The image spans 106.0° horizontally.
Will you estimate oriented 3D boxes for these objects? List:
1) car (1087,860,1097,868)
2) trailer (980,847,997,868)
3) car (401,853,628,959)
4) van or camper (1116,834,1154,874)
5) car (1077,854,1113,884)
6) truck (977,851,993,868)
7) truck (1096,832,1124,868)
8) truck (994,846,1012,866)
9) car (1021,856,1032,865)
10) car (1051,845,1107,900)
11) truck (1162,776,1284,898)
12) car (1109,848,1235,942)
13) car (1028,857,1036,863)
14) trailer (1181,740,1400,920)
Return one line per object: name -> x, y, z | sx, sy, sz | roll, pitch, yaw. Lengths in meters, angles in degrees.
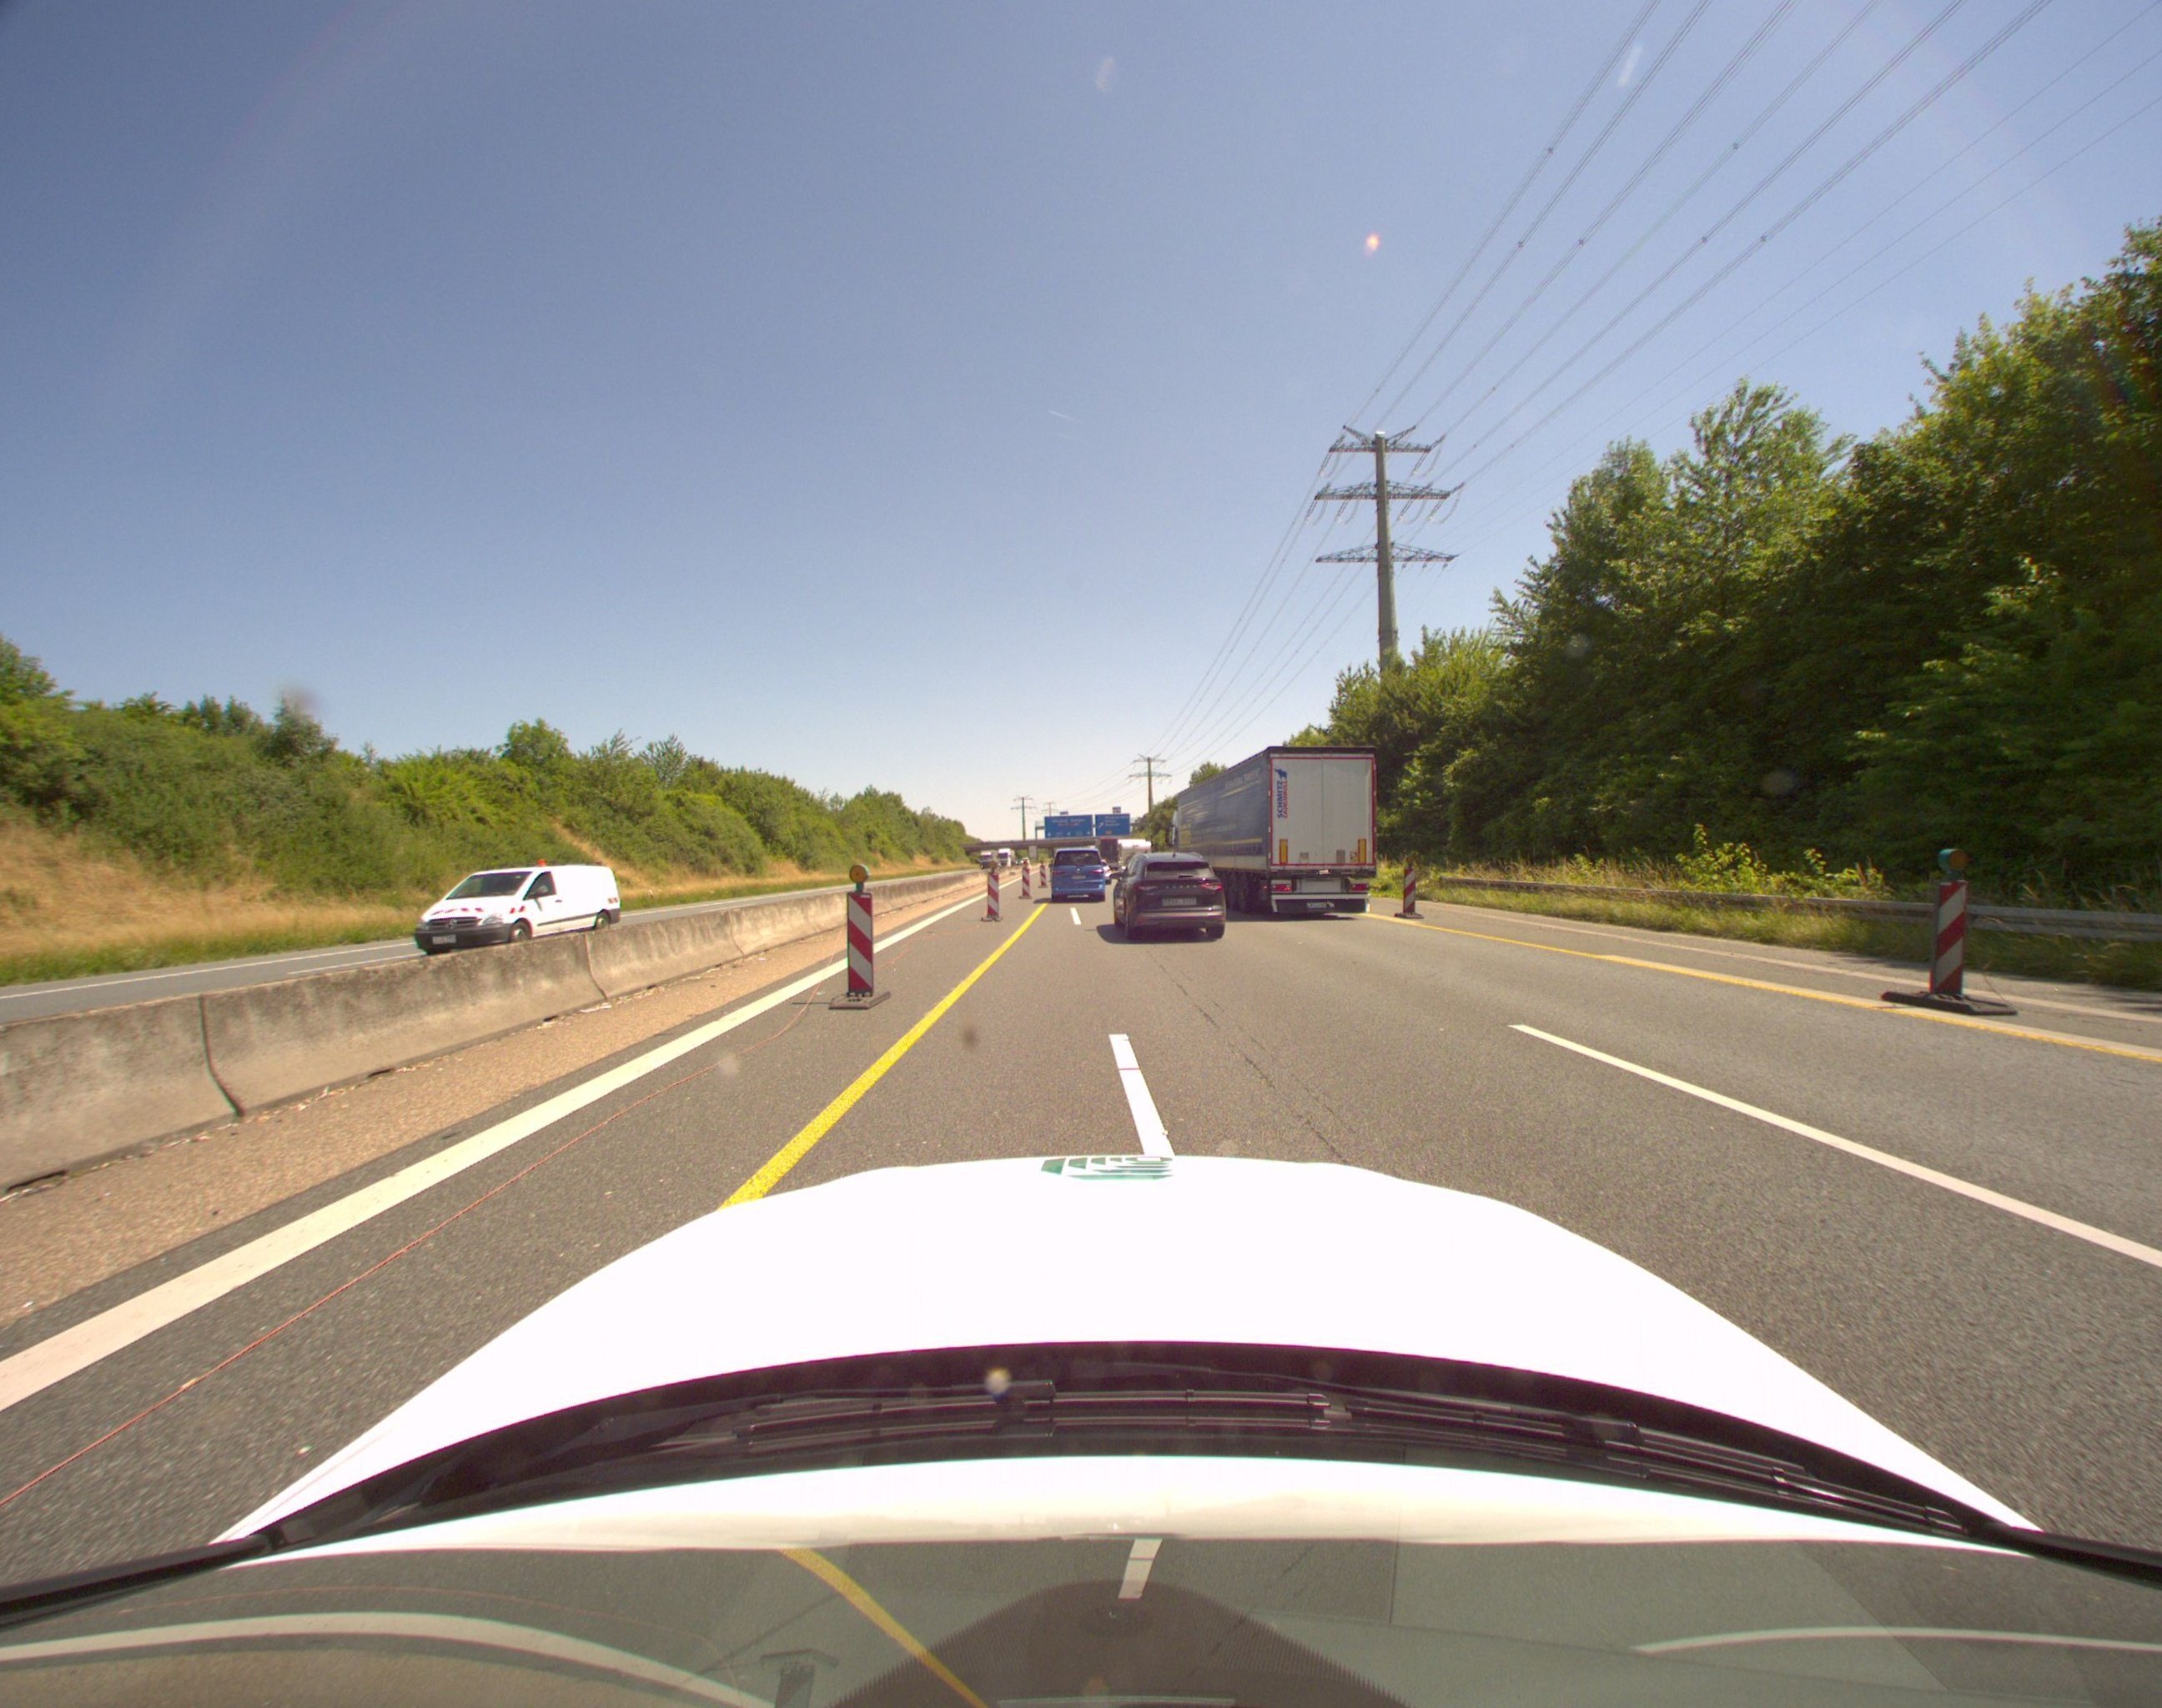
car -> 2.301, 2.085, 176.336 | 1.890, 1.509, 4.440 | 1, 1, -2
trailer -> -20.707, 0.783, 182.857 | 2.473, 4.179, 12.078 | -4, 0, -1
car -> -13.062, 1.081, 19.281 | 1.958, 2.085, 4.934 | -2, 0, -2
van or camper -> 4.282, 0.026, 65.692 | 2.578, 2.968, 6.084 | -2, 0, 0
car -> 0.766, 0.843, 47.607 | 1.890, 1.509, 4.440 | 1, 1, -2
truck -> -20.576, 1.194, 175.006 | 2.457, 3.288, 6.920 | -4, 0, -1
truck -> 3.488, -0.405, 101.682 | 3.068, 4.146, 13.052 | 0, 0, 0
truck -> -17.032, 0.457, 177.489 | 3.153, 4.225, 7.414 | 0, 0, 0
car -> -12.305, 1.431, 184.093 | 1.860, 1.792, 5.454 | -2, 0, 0
car -> -0.137, 0.669, 29.732 | 1.890, 1.841, 4.439 | 0, -1, -2
truck -> 5.169, -0.570, 31.345 | 3.017, 4.087, 7.788 | -1, 0, -2
car -> 1.670, 0.706, 16.470 | 1.891, 1.592, 4.439 | -1, 0, -2
car -> -12.876, 1.683, 214.776 | 1.756, 1.471, 4.633 | -2, 0, 0
trailer -> 5.475, -0.540, 24.232 | 3.057, 4.042, 11.477 | -1, 0, -2
